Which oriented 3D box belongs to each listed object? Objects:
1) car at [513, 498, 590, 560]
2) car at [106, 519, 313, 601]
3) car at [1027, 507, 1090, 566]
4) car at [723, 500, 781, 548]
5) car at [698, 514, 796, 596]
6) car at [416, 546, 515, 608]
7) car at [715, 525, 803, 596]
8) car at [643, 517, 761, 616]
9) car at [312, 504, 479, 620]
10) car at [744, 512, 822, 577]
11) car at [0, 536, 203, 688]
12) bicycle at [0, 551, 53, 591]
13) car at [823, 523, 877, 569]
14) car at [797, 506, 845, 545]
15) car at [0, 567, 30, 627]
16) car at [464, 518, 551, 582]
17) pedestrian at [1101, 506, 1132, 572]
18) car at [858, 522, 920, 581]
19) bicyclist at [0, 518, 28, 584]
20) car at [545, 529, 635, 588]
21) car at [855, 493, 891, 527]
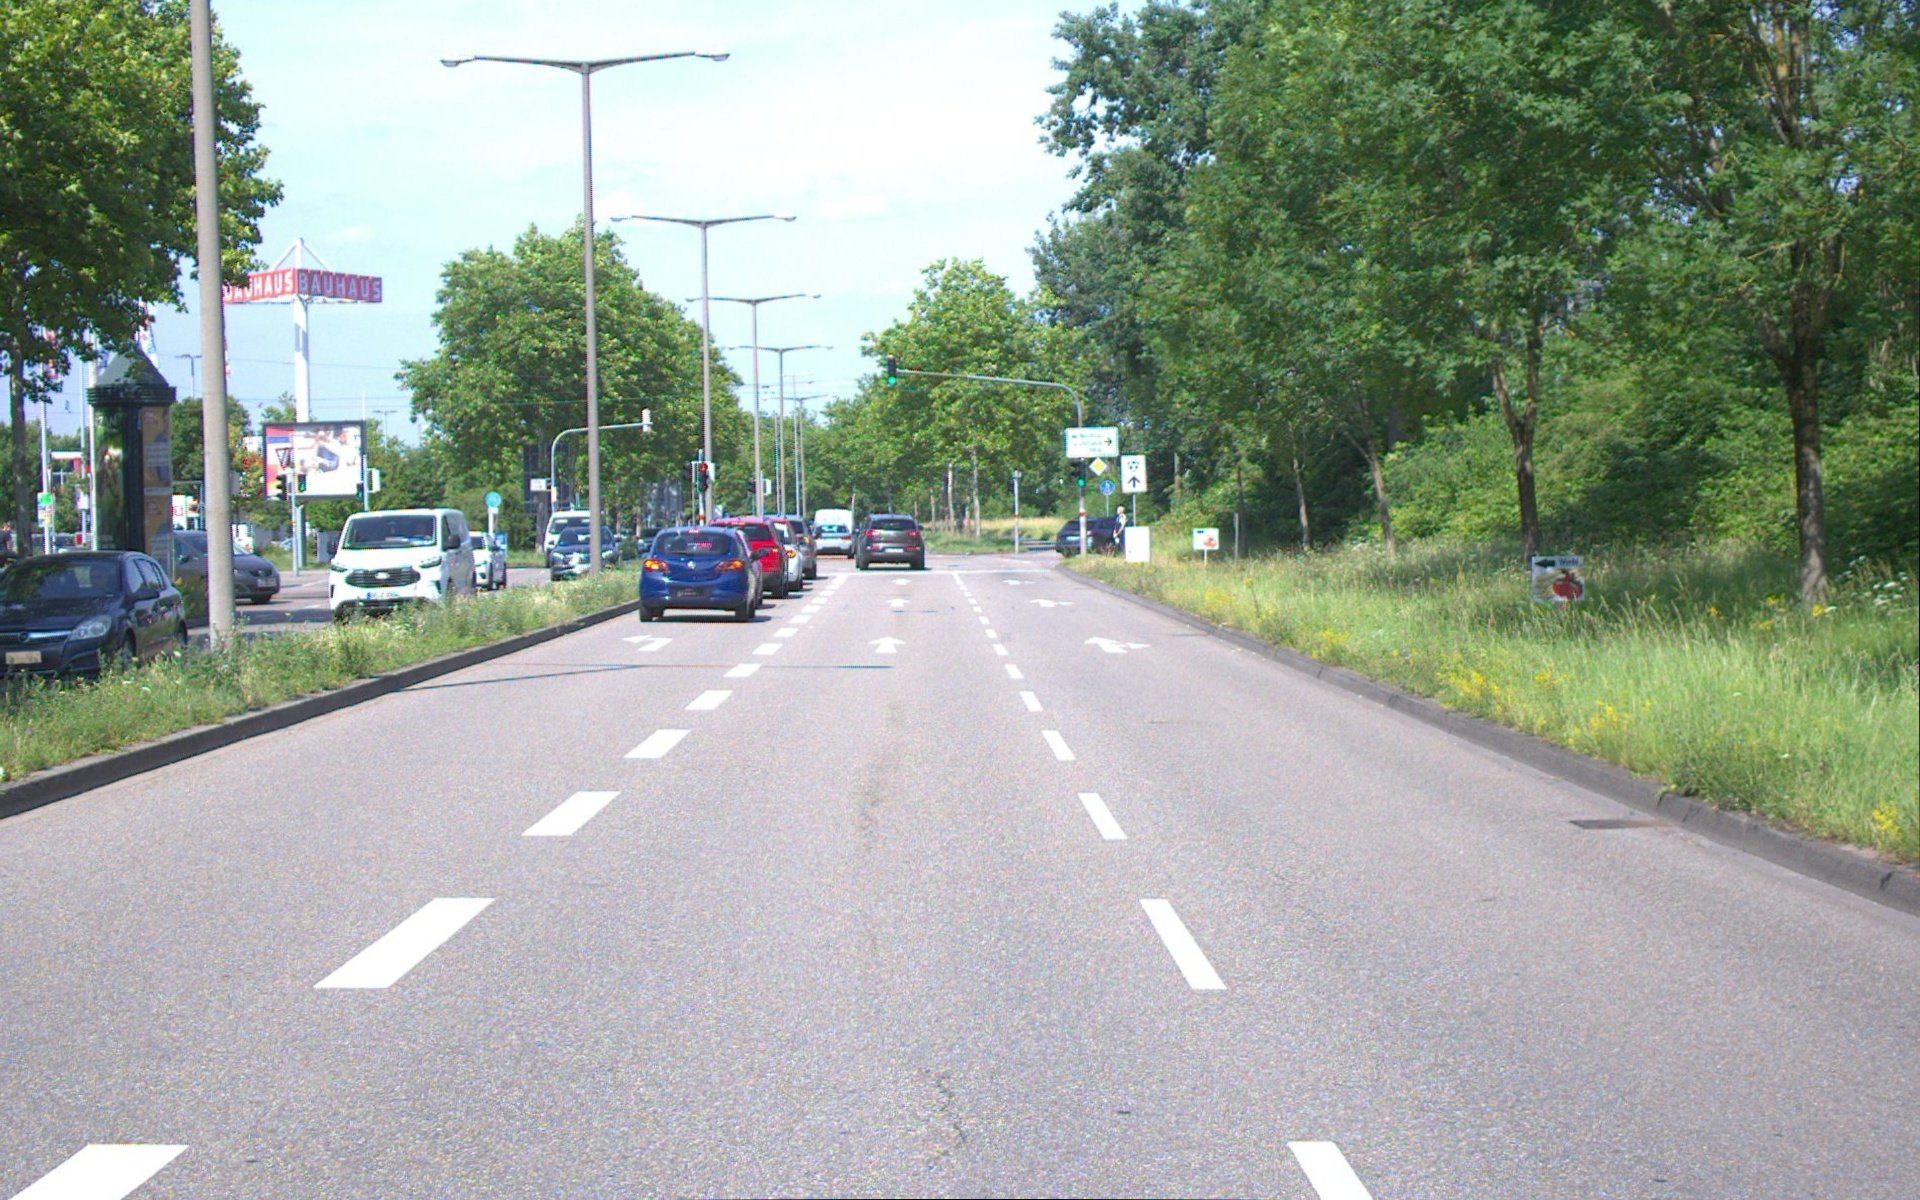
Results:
[{"bbox_3d":[-13.707,-2.407,115.684,1.993,2.006,5.214,-1,2,-1],"label":"car"},{"bbox_3d":[-16.973,-0.894,77.745,4.392,1.744,1.866,-1,1,29],"label":"car"},{"bbox_3d":[3.342,-2.196,117.432,2.018,1.831,4.001,0,4,0],"label":"car"},{"bbox_3d":[-8.316,-3.047,137.602,1.993,1.853,4.000,-1,1,1],"label":"car"},{"bbox_3d":[-4.252,-0.943,69.277,1.782,1.587,4.594,0,1,-1],"label":"car"},{"bbox_3d":[-11.942,-0.579,83.245,1.787,1.393,4.359,-2,1,-1],"label":"car"},{"bbox_3d":[-4.391,-0.894,75.514,1.766,1.474,4.136,1,1,-1],"label":"car"},{"bbox_3d":[-4.063,-0.554,54.550,1.626,1.478,4.049,1,1,-1],"label":"car"},{"bbox_3d":[-9.722,-0.693,59.616,2.116,1.877,5.420,-2,1,-2],"label":"car"},{"bbox_3d":[-4.544,-1.450,88.662,1.881,1.612,4.213,0,1,-1],"label":"car"},{"bbox_3d":[-9.278,0.090,35.974,1.768,1.464,4.284,-2,1,-1],"label":"car"},{"bbox_3d":[-25.122,-0.773,91.084,1.948,0.979,0.789,-3,4,-36],"label":"bicycle"},{"bbox_3d":[-4.285,-2.114,134.289,1.993,1.738,4.266,-1,1,-1],"label":"car"},{"bbox_3d":[-6.265,-3.376,155.419,1.993,1.702,4.263,-1,1,0],"label":"car"},{"bbox_3d":[-24.258,-0.058,81.665,3.992,1.383,1.763,0,3,26],"label":"car"},{"bbox_3d":[-12.464,-1.394,94.915,1.977,1.687,4.001,-2,1,-2],"label":"car"},{"bbox_3d":[4.658,-1.828,102.652,0.837,1.926,0.772,-1,3,-4],"label":"pedestrian"},{"bbox_3d":[-2.049,-1.428,99.995,1.736,1.530,4.001,0,4,0],"label":"car"},{"bbox_3d":[-25.256,-1.298,90.953,0.897,1.709,0.783,-3,4,-36],"label":"bicyclist"},{"bbox_3d":[-10.213,-1.172,95.226,1.993,1.525,4.683,-2,1,-1],"label":"car"},{"bbox_3d":[-5.315,-5.506,210.545,1.993,2.007,4.001,-1,1,-4],"label":"car"}]
